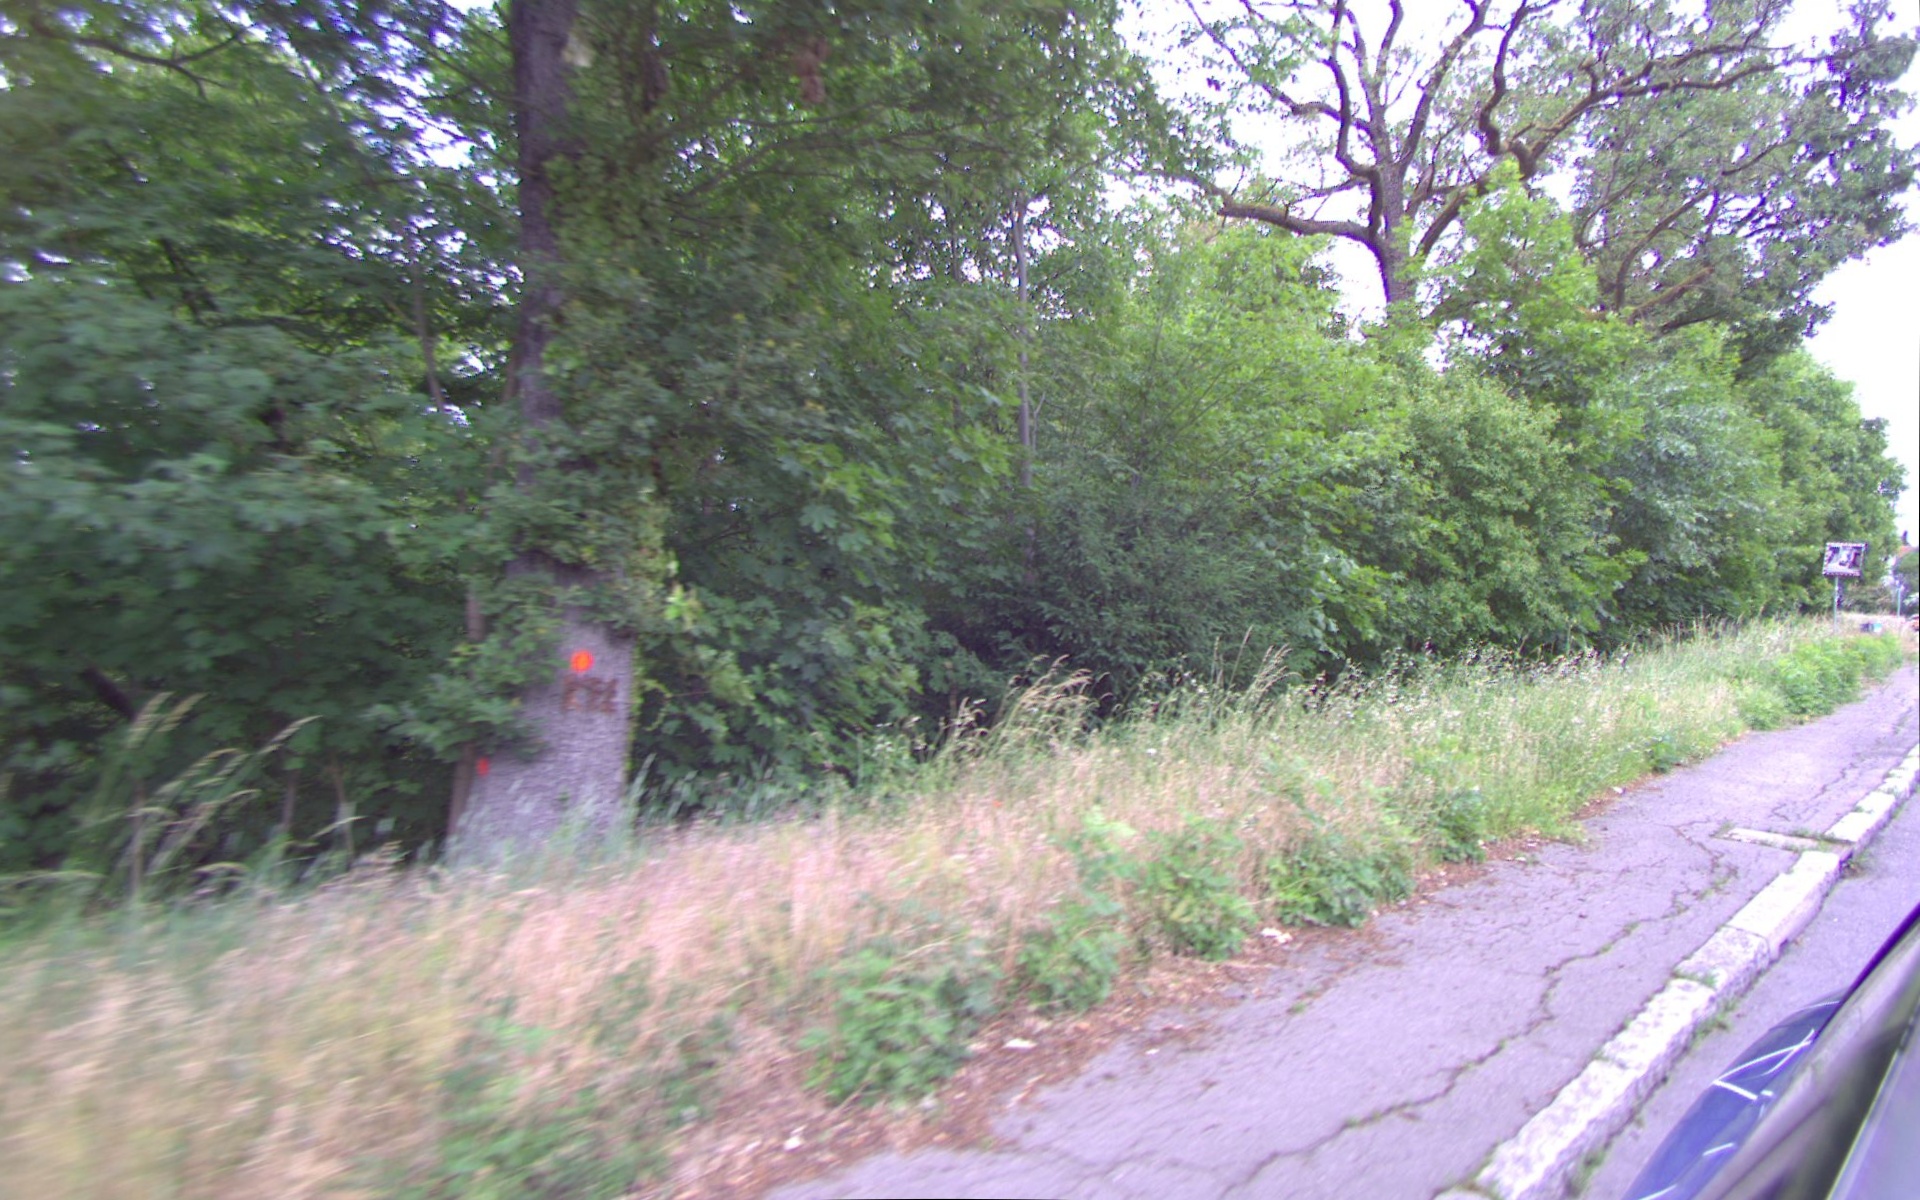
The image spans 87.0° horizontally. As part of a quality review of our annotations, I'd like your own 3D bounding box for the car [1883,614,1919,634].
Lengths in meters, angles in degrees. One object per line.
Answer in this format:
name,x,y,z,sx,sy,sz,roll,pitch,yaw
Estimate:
car,86.792,2.199,92.996,1.983,1.709,4.660,1,1,30
